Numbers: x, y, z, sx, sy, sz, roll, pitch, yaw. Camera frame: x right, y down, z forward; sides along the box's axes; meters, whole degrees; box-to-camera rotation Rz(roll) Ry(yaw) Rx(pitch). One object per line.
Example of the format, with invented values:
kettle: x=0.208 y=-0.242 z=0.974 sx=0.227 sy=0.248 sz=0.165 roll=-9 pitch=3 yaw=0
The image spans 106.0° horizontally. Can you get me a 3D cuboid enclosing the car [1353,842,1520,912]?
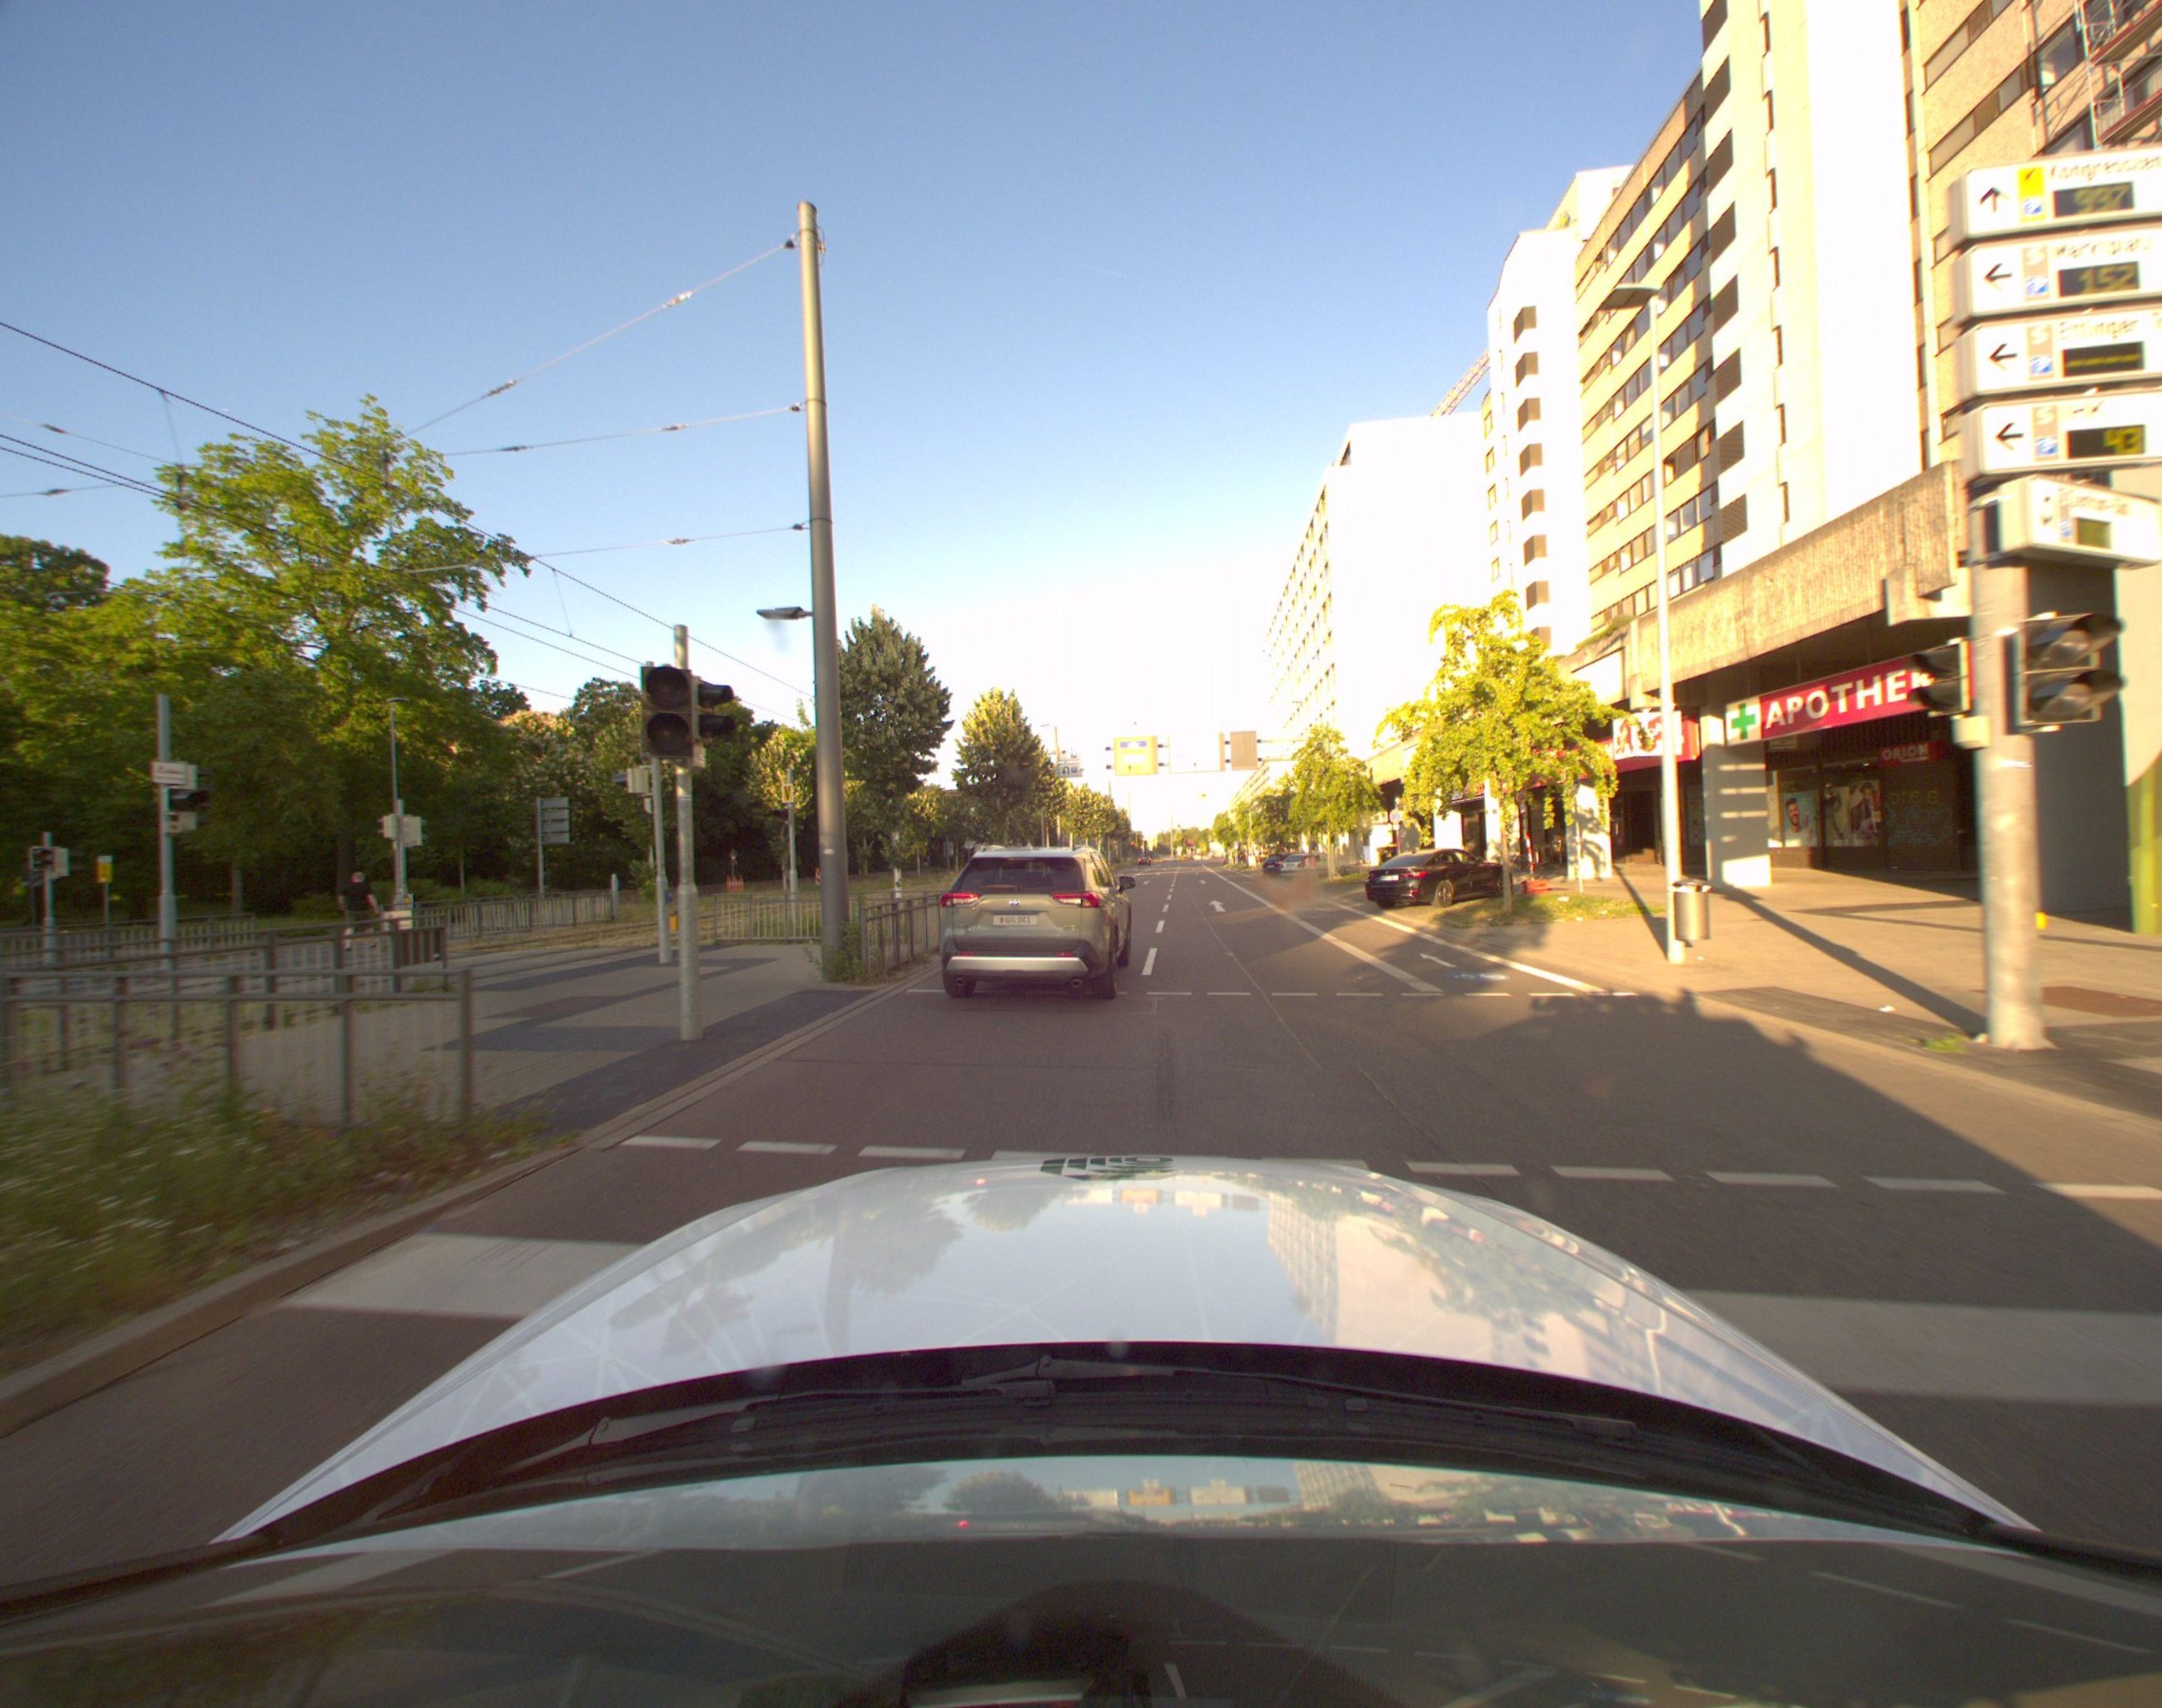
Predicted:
car: x=9.390 y=0.556 z=21.384 sx=4.626 sy=1.453 sz=1.794 roll=-4 pitch=0 yaw=-34

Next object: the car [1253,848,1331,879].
car: x=12.910 y=0.566 z=49.738 sx=4.687 sy=1.508 sz=1.919 roll=-4 pitch=-1 yaw=-33

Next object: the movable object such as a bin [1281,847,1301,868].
movable object such as a bin: x=14.117 y=0.230 z=54.790 sx=1.010 sy=1.347 sz=1.161 roll=-5 pitch=0 yaw=2

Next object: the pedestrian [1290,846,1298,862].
pedestrian: x=22.202 y=0.029 z=84.909 sx=0.573 sy=1.619 sz=0.644 roll=-4 pitch=0 yaw=4

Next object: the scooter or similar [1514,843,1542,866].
scooter or similar: x=22.991 y=0.024 z=41.931 sx=0.400 sy=1.161 sz=1.829 roll=0 pitch=0 yaw=-2

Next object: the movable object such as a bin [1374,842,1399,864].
movable object such as a bin: x=20.530 y=-0.060 z=54.685 sx=1.176 sy=1.323 sz=1.269 roll=-5 pitch=0 yaw=5

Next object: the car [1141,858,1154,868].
car: x=9.086 y=1.218 z=111.414 sx=1.665 sy=1.352 sz=4.008 roll=-1 pitch=0 yaw=7

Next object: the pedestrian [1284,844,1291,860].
pedestrian: x=23.752 y=-0.226 z=93.594 sx=0.614 sy=1.811 sz=0.780 roll=-5 pitch=-1 yaw=16

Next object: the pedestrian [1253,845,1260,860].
pedestrian: x=21.252 y=-0.172 z=98.604 sx=0.572 sy=1.786 sz=0.832 roll=-4 pitch=-2 yaw=14

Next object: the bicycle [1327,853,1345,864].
bicycle: x=22.461 y=0.358 z=71.683 sx=1.414 sy=0.891 sz=0.458 roll=-3 pitch=0 yaw=6

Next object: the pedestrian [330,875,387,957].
pedestrian: x=-15.250 y=1.290 z=17.216 sx=0.680 sy=1.607 sz=0.665 roll=-4 pitch=5 yaw=-30

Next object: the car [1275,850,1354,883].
car: x=12.462 y=0.667 z=43.346 sx=4.005 sy=1.416 sz=1.733 roll=-4 pitch=-1 yaw=-32

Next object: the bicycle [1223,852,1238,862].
bicycle: x=20.301 y=0.430 z=110.571 sx=1.786 sy=1.193 sz=0.568 roll=-4 pitch=0 yaw=2

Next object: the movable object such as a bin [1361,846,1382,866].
movable object such as a bin: x=21.108 y=0.121 z=59.124 sx=1.099 sy=1.329 sz=1.285 roll=-4 pitch=0 yaw=6

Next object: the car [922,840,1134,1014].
car: x=-0.393 y=0.735 z=10.051 sx=1.824 sy=1.672 sz=4.290 roll=-1 pitch=-1 yaw=7

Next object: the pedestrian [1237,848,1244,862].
pedestrian: x=20.358 y=0.094 z=104.113 sx=0.650 sy=1.702 sz=0.690 roll=-4 pitch=0 yaw=6

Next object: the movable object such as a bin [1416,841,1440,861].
movable object such as a bin: x=23.258 y=-0.198 z=54.620 sx=1.176 sy=1.313 sz=1.126 roll=-3 pitch=0 yaw=5

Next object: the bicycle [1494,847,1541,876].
bicycle: x=17.712 y=0.306 z=33.034 sx=1.564 sy=1.048 sz=0.434 roll=-4 pitch=0 yaw=5
